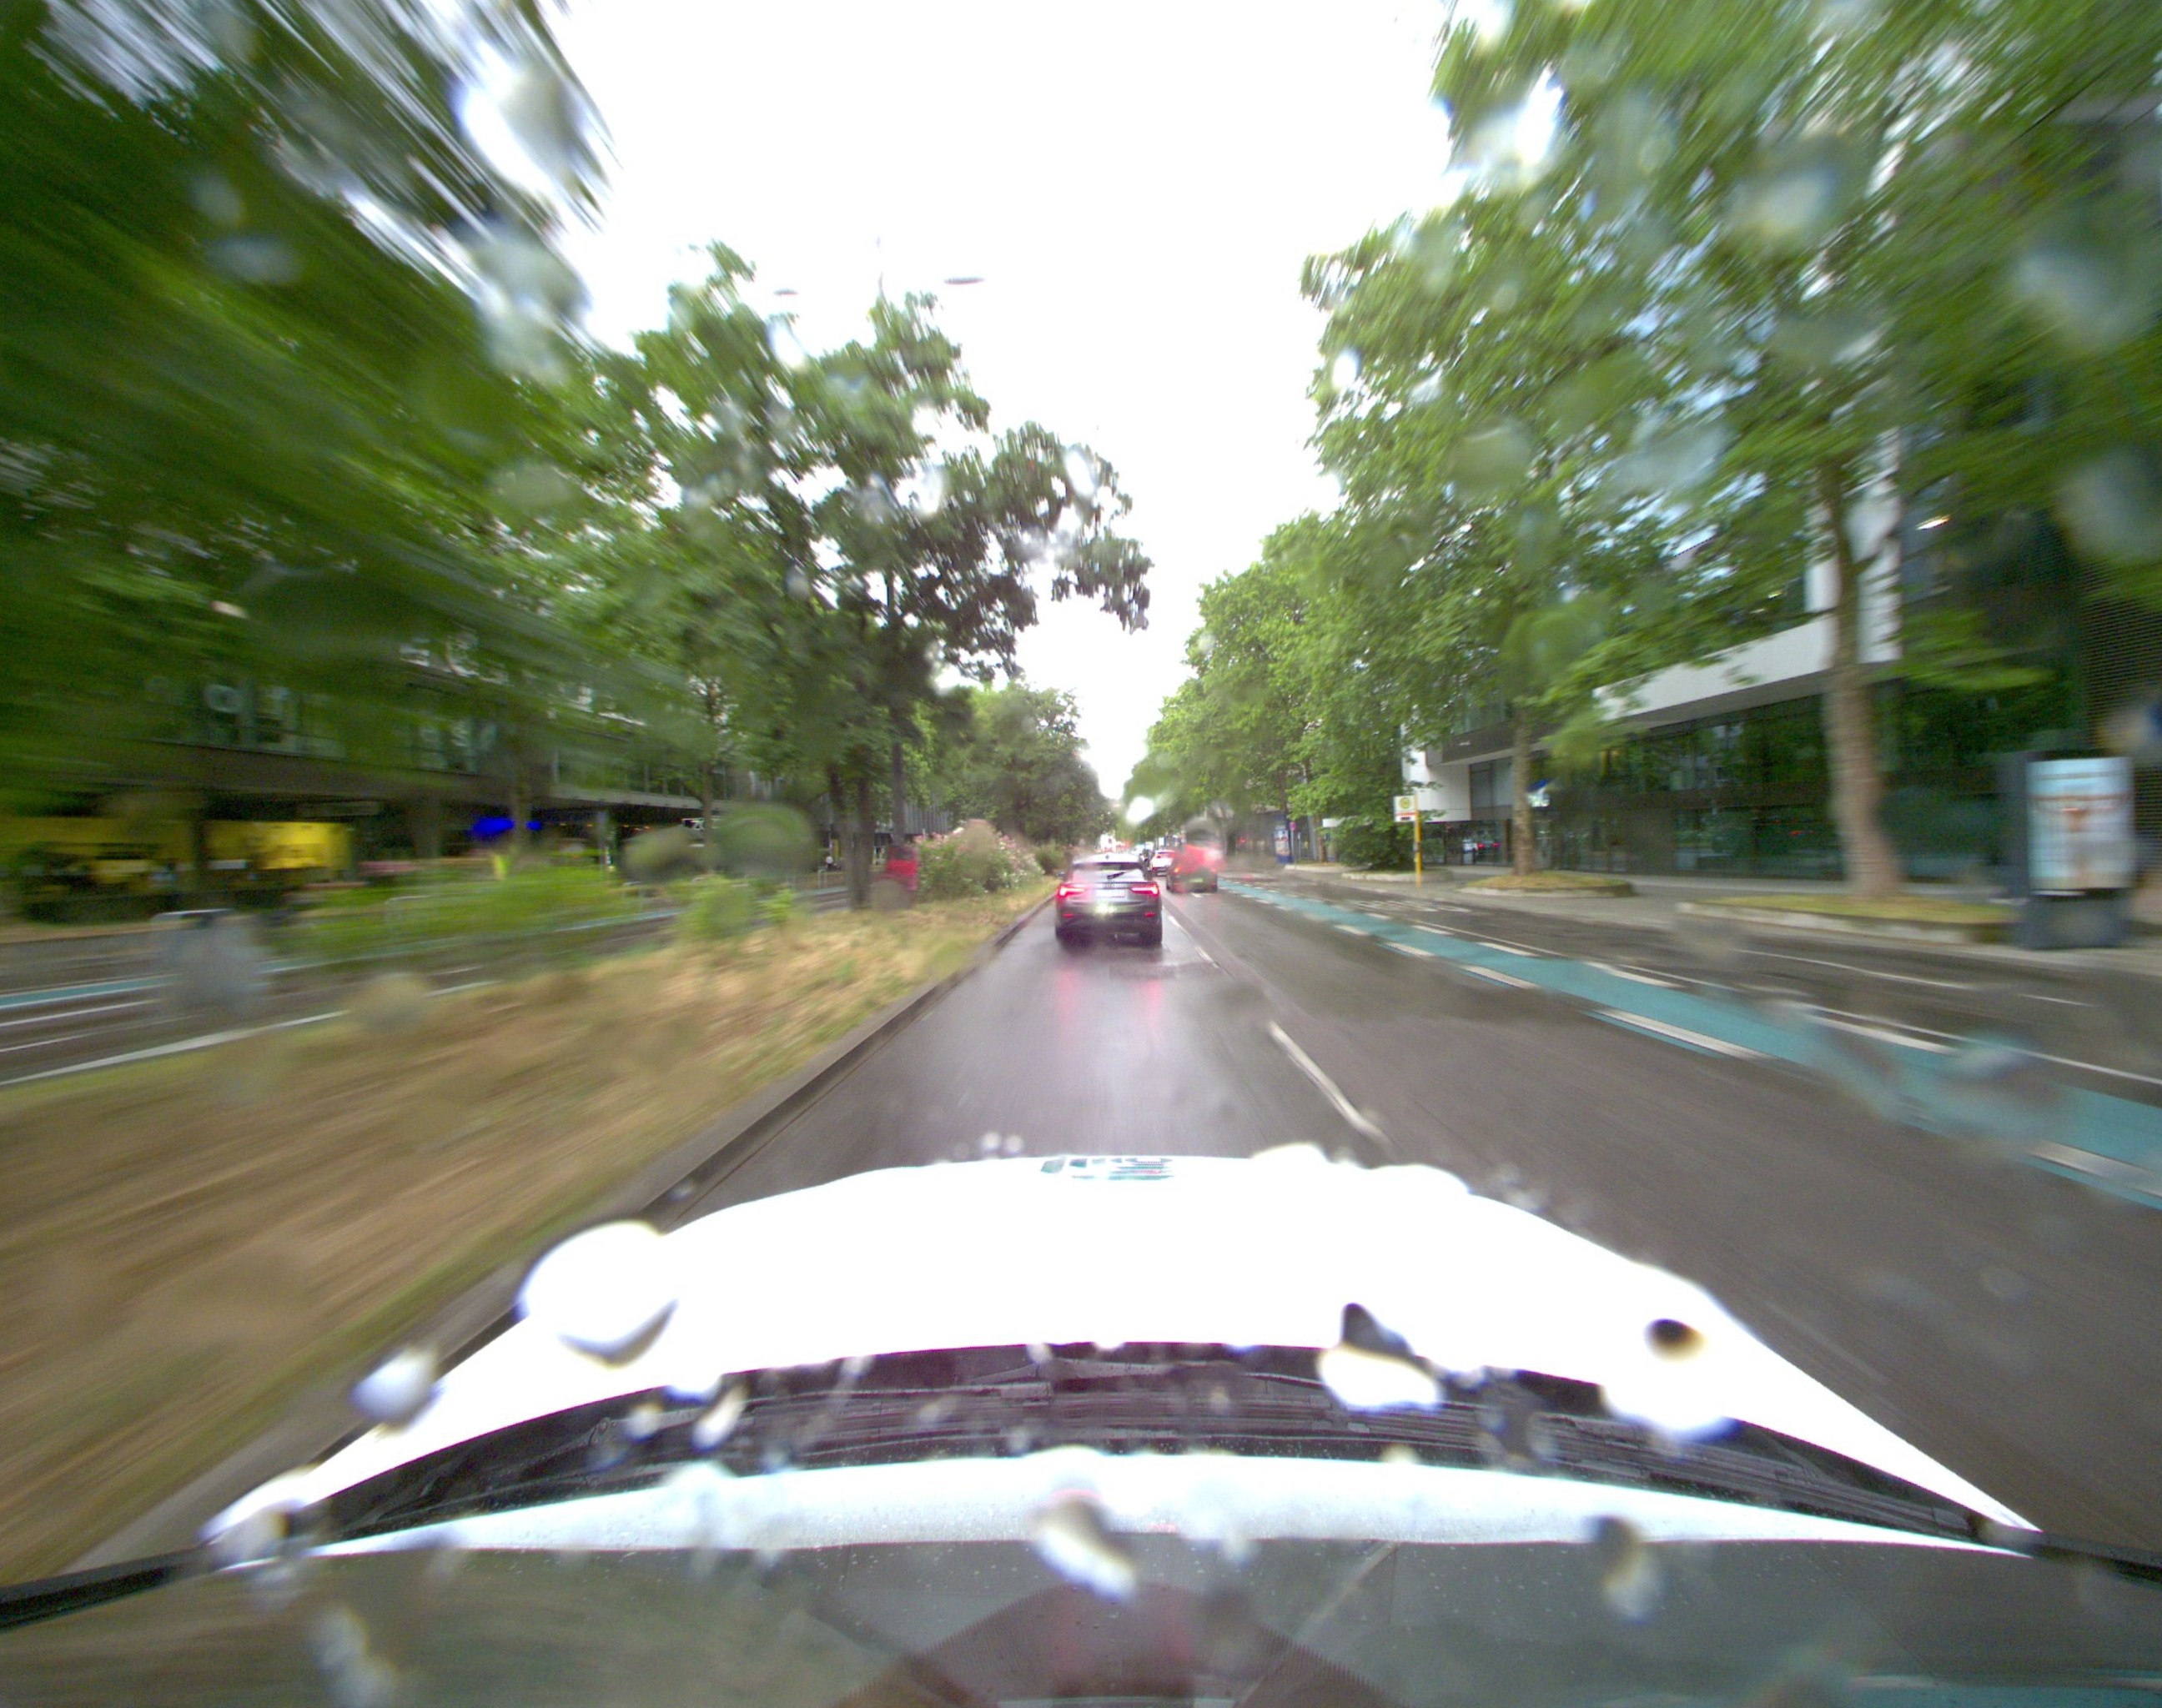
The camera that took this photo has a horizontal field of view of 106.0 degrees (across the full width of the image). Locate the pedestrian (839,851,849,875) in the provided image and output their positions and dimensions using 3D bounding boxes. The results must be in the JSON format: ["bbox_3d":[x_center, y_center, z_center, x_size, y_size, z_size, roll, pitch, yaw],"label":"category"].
[{"bbox_3d":[-20.143,0.746,69.196,0.595,2.013,0.603,-1,0,1],"label":"pedestrian"}]

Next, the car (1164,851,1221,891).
[{"bbox_3d":[4.320,0.623,31.965,1.758,1.412,4.002,-2,0,2],"label":"car"}]

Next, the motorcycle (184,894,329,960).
[{"bbox_3d":[-15.000,1.305,14.877,1.784,1.084,0.491,-1,0,-28],"label":"motorcycle"}]

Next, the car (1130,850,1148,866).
[{"bbox_3d":[6.609,0.406,93.209,1.986,1.750,4.003,-2,0,2],"label":"car"}]

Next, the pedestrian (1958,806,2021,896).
[{"bbox_3d":[18.582,-0.064,16.664,0.561,1.794,0.607,-2,0,-1],"label":"pedestrian"}]

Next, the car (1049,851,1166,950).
[{"bbox_3d":[0.566,0.751,15.431,1.855,1.532,4.531,-1,0,3],"label":"car"}]

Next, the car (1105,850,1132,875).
[{"bbox_3d":[2.464,0.527,54.330,1.715,1.577,3.963,-2,0,2],"label":"car"}]

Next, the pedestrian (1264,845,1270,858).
[{"bbox_3d":[24.854,-0.323,109.059,0.648,1.815,0.656,-1,0,1],"label":"pedestrian"}]

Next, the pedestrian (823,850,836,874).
[{"bbox_3d":[-21.287,0.668,68.860,0.877,2.013,0.636,-1,0,1],"label":"pedestrian"}]

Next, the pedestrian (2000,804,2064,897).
[{"bbox_3d":[19.443,-0.067,16.654,0.561,1.854,0.607,-2,0,-1],"label":"pedestrian"}]

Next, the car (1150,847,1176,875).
[{"bbox_3d":[5.192,0.410,51.962,1.427,1.685,2.981,-2,0,2],"label":"car"}]
